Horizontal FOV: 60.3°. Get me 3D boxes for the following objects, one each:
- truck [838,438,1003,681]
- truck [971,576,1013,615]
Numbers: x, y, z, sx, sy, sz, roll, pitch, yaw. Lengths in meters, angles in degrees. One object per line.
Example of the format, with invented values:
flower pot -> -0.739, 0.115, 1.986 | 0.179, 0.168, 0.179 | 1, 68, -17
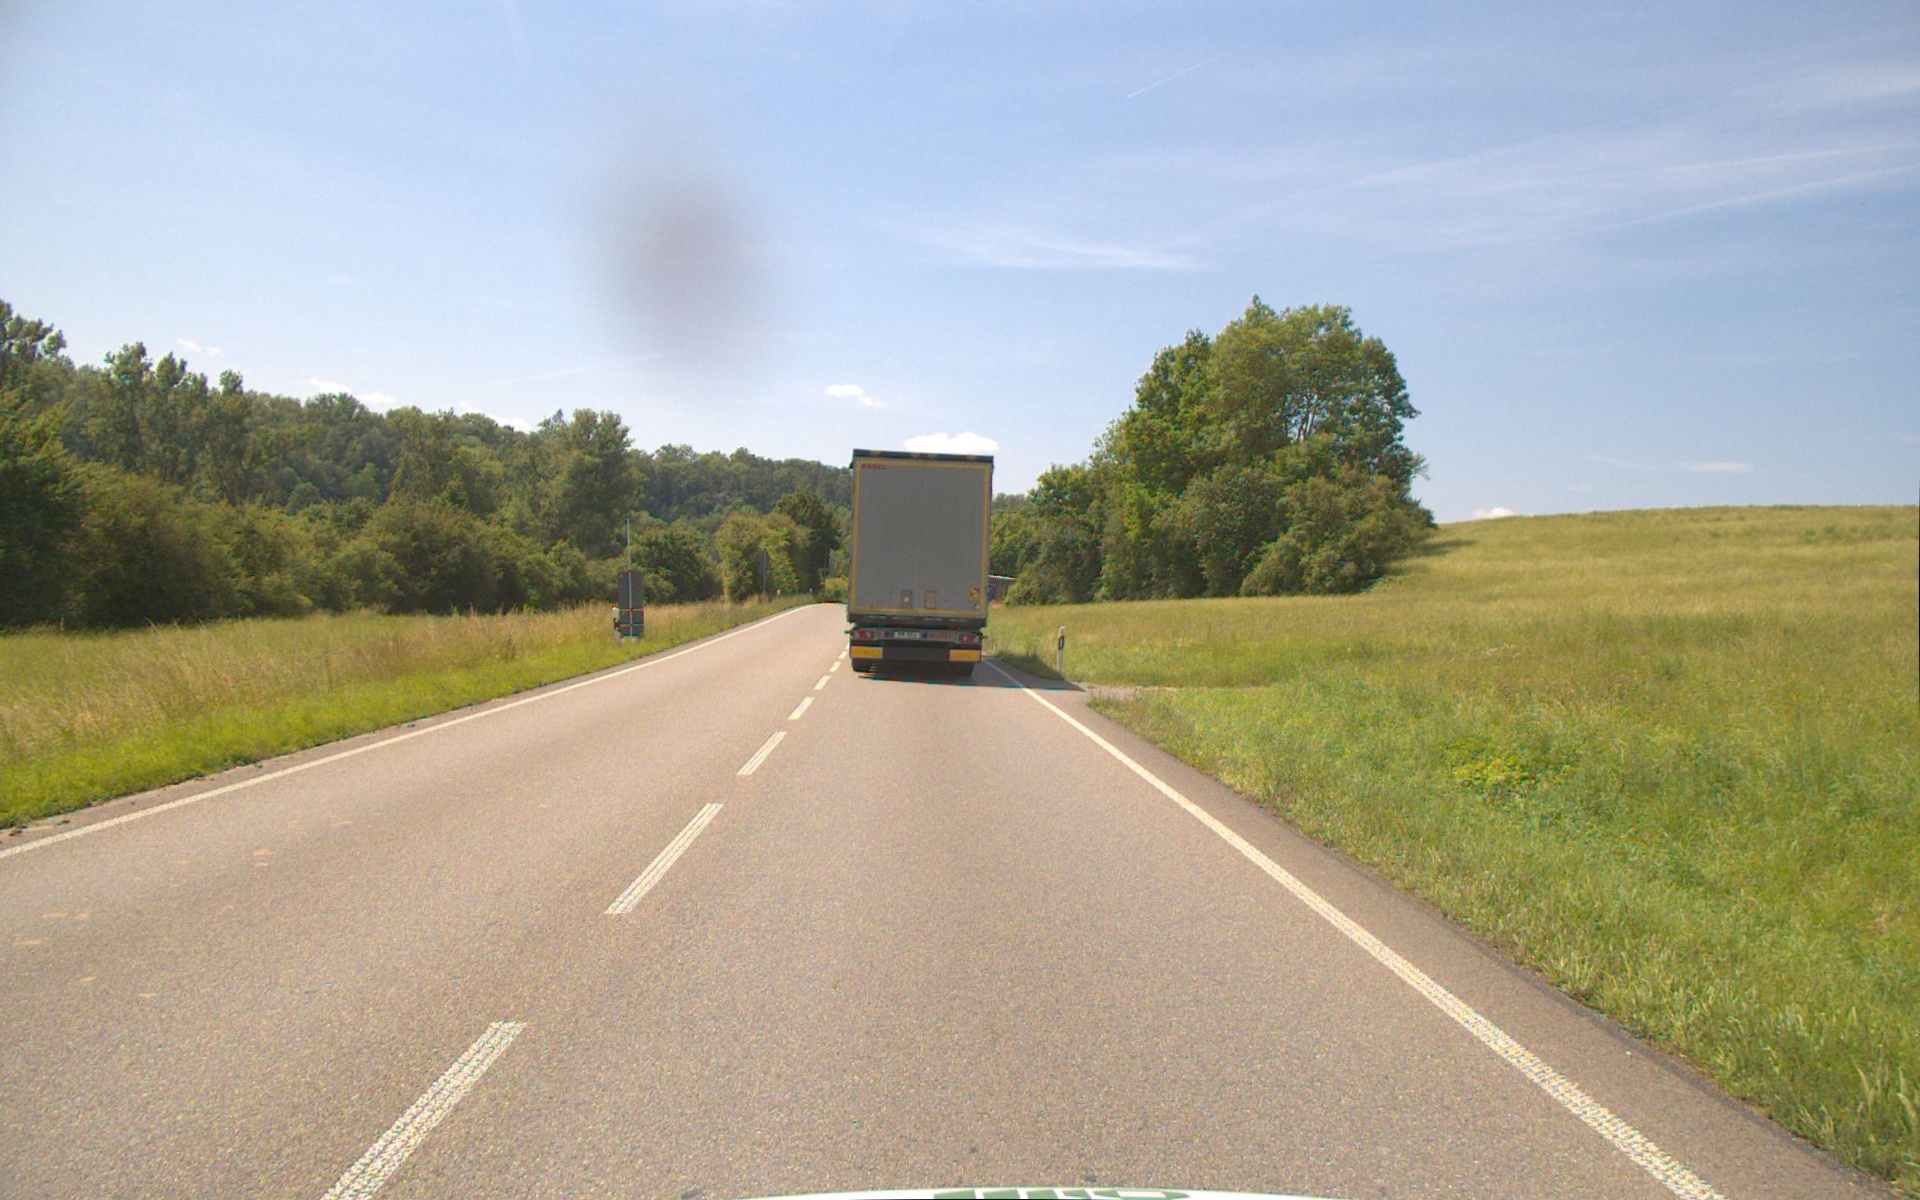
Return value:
truck -> -0.998, -0.688, 36.531 | 2.745, 4.140, 15.317 | 2, 0, -2
truck -> 3.892, -0.411, 196.534 | 3.233, 4.463, 13.422 | 0, -1, 9
